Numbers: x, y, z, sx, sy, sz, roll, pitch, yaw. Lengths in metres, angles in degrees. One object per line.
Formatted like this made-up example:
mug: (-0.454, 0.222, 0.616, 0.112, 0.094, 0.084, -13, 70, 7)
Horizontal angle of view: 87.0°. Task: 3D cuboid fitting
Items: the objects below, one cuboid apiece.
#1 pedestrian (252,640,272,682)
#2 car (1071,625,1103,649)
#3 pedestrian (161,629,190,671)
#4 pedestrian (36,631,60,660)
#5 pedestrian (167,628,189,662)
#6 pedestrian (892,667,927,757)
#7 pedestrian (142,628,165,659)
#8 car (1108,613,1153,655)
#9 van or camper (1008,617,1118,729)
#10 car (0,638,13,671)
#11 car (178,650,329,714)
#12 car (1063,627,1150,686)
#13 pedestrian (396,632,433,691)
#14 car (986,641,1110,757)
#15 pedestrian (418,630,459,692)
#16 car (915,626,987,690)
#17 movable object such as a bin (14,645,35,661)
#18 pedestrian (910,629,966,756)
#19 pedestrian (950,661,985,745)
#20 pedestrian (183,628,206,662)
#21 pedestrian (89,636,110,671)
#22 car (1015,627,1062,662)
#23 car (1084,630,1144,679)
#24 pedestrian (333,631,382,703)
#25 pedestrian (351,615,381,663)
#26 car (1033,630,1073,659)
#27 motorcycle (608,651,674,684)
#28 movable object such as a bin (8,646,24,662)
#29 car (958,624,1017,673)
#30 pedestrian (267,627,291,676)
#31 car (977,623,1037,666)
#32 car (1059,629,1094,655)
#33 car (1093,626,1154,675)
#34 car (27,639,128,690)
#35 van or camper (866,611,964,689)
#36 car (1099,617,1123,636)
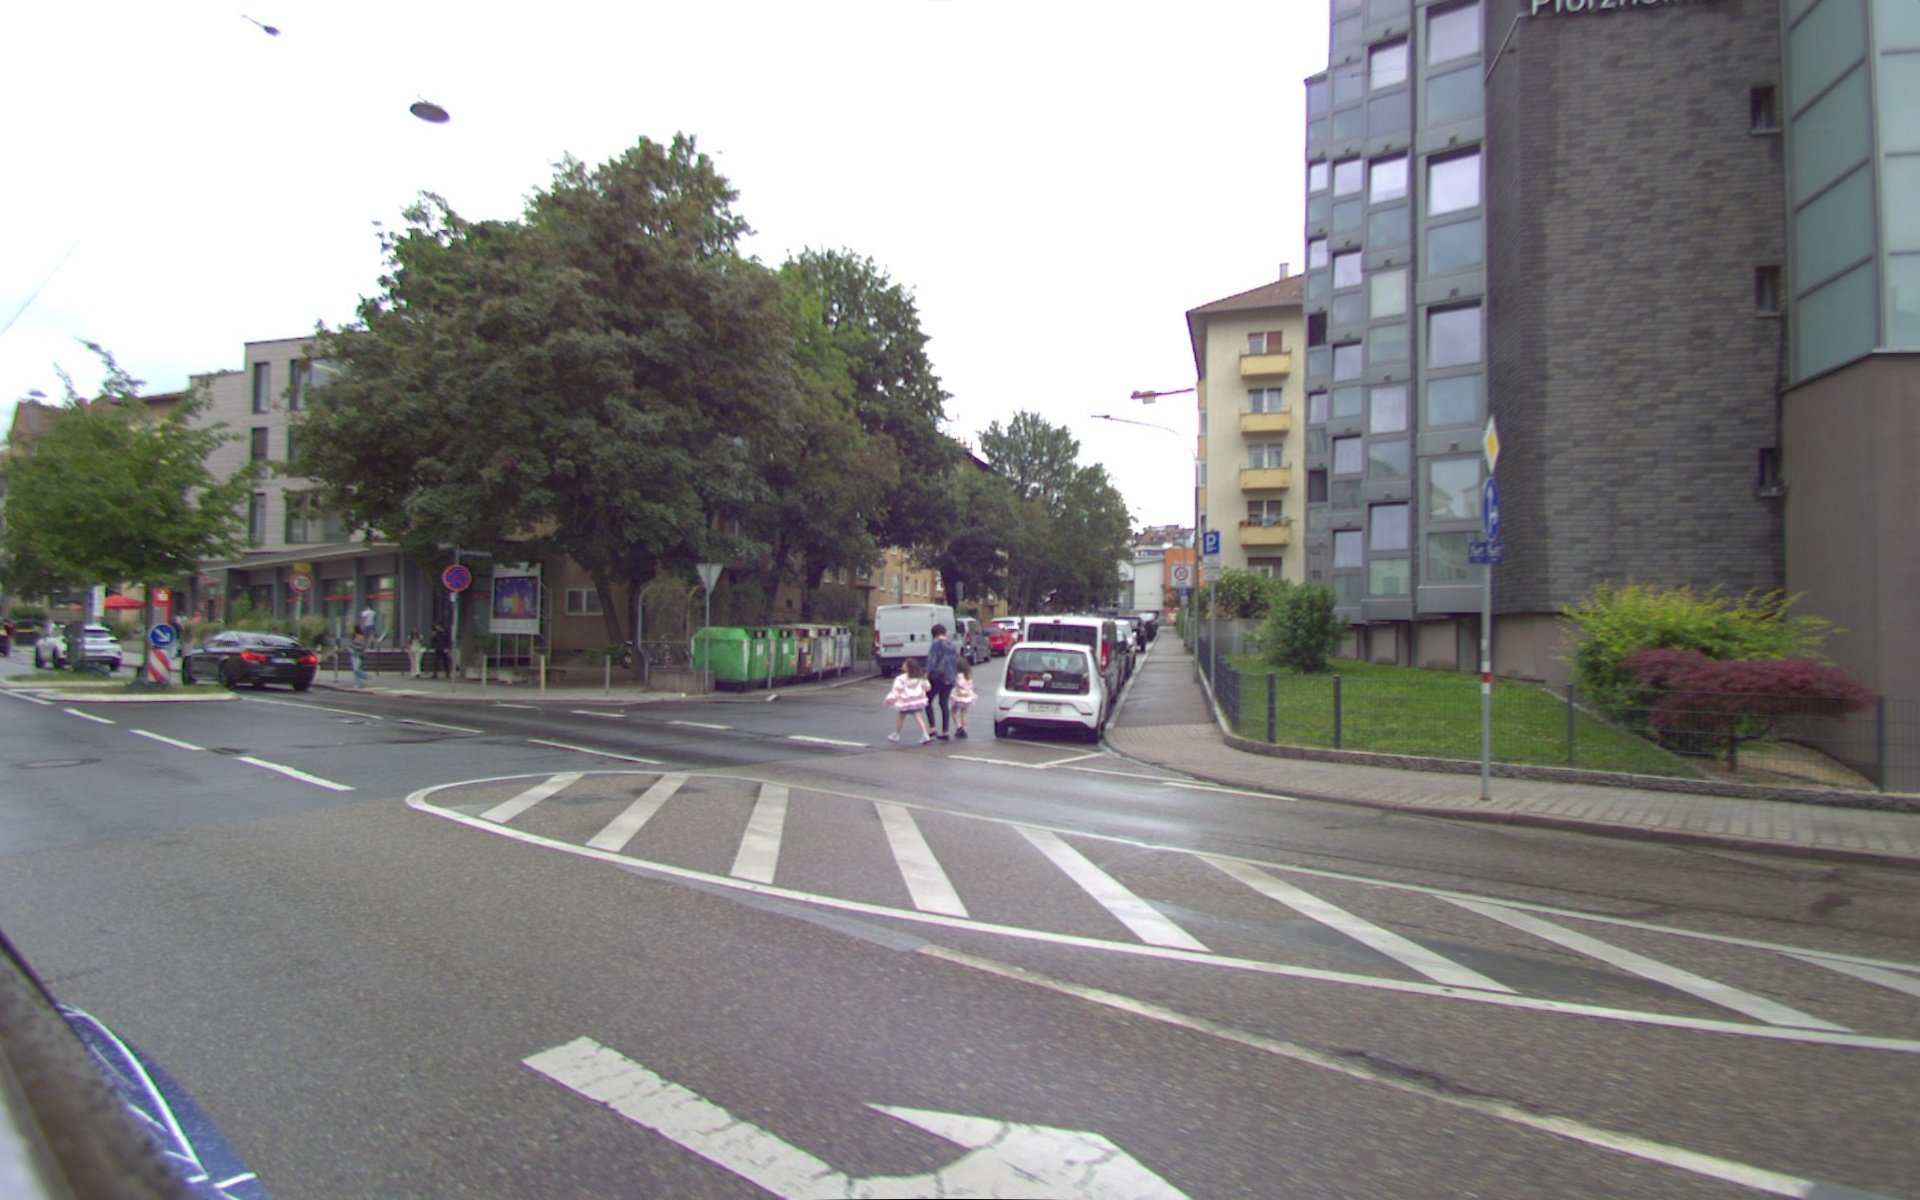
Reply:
pedestrian: (-24.133, 2.106, 34.983, 0.480, 1.421, 0.429, -1, -2, 36)
car: (11.143, 3.236, 88.560, 1.984, 2.029, 3.975, 0, -3, 18)
pedestrian: (-34.697, 2.201, 44.771, 0.716, 1.840, 0.718, -1, -2, 20)
pedestrian: (-55.404, 2.778, 61.463, 0.755, 1.722, 0.789, -1, 0, 14)
pedestrian: (-38.942, 2.228, 50.388, 0.713, 1.691, 0.706, -1, -2, 39)
pedestrian: (-0.704, 1.547, 14.090, 0.310, 1.207, 0.405, -1, -3, 33)
pedestrian: (-37.936, 2.046, 47.632, 0.582, 1.431, 0.727, 1, -2, -16)
car: (8.677, 1.707, 51.349, 1.980, 2.029, 3.982, 0, -2, 14)
van or camper: (2.291, 1.420, 21.277, 1.978, 2.029, 4.952, 1, -1, 9)
car: (-47.633, 2.592, 48.946, 4.237, 1.569, 1.936, -1, -4, 38)
car: (-18.055, 2.016, 25.784, 4.495, 1.436, 1.993, -2, -3, 40)
car: (3.985, 1.471, 27.038, 1.980, 1.454, 3.712, 0, -2, 14)
pedestrian: (-16.664, 1.875, 30.911, 0.714, 1.772, 0.653, 0, -2, 16)
car: (1.429, 1.527, 16.380, 1.719, 1.581, 3.582, 3, -3, 6)
pedestrian: (-15.831, 1.836, 30.733, 0.690, 1.859, 0.855, -1, -2, 25)
car: (-0.276, 2.184, 38.322, 1.979, 2.273, 3.985, 0, -3, 11)
movable object such as a bin: (-63.602, 3.606, 68.801, 0.805, 1.066, 0.739, 0, -1, 14)
pedestrian: (-0.311, 1.312, 14.597, 0.579, 1.775, 0.569, -1, -3, 33)
pedestrian: (0.119, 1.527, 15.098, 0.357, 1.207, 0.405, -1, -3, 33)
pedestrian: (-37.754, 2.218, 49.905, 0.701, 1.691, 0.803, 1, -2, -23)
pedestrian: (-46.542, 2.891, 54.713, 0.867, 1.833, 0.585, -1, -2, 31)
car: (4.811, 2.708, 61.654, 1.984, 2.029, 3.975, 0, -3, 18)
car: (5.946, 2.052, 38.739, 1.980, 1.741, 3.982, 0, -2, 14)
pedestrian: (-15.808, 1.751, 26.543, 0.847, 1.840, 0.719, -1, -2, 17)
pedestrian: (-23.362, 1.530, 39.807, 0.714, 1.840, 0.721, -1, -2, 11)
car: (6.658, 3.166, 71.801, 1.984, 2.029, 3.975, 0, -3, 18)
motorcycle: (-11.047, 2.315, 35.037, 2.025, 0.995, 0.798, -1, -1, -36)
movable object such as a bin: (-64.452, 3.670, 69.086, 0.579, 1.066, 0.732, -1, -2, 43)
car: (1.273, 2.099, 45.076, 1.979, 2.029, 3.985, 0, -1, 11)
pedestrian: (-23.801, 1.795, 35.374, 0.551, 1.686, 0.493, -1, -2, 36)
car: (2.370, 2.195, 50.195, 1.984, 2.029, 3.975, 0, -3, 18)
car: (9.232, 3.325, 79.778, 1.984, 2.029, 3.975, 0, -3, 18)
car: (5.363, 1.604, 32.834, 1.678, 1.475, 3.982, 0, -2, 14)
car: (-30.562, 2.223, 35.026, 4.084, 1.581, 1.802, -1, -7, 38)
van or camper: (-1.360, 1.521, 32.674, 2.187, 2.283, 4.603, -1, 0, 10)
car: (16.704, 2.991, 112.071, 1.984, 2.029, 3.975, 0, -3, 18)
